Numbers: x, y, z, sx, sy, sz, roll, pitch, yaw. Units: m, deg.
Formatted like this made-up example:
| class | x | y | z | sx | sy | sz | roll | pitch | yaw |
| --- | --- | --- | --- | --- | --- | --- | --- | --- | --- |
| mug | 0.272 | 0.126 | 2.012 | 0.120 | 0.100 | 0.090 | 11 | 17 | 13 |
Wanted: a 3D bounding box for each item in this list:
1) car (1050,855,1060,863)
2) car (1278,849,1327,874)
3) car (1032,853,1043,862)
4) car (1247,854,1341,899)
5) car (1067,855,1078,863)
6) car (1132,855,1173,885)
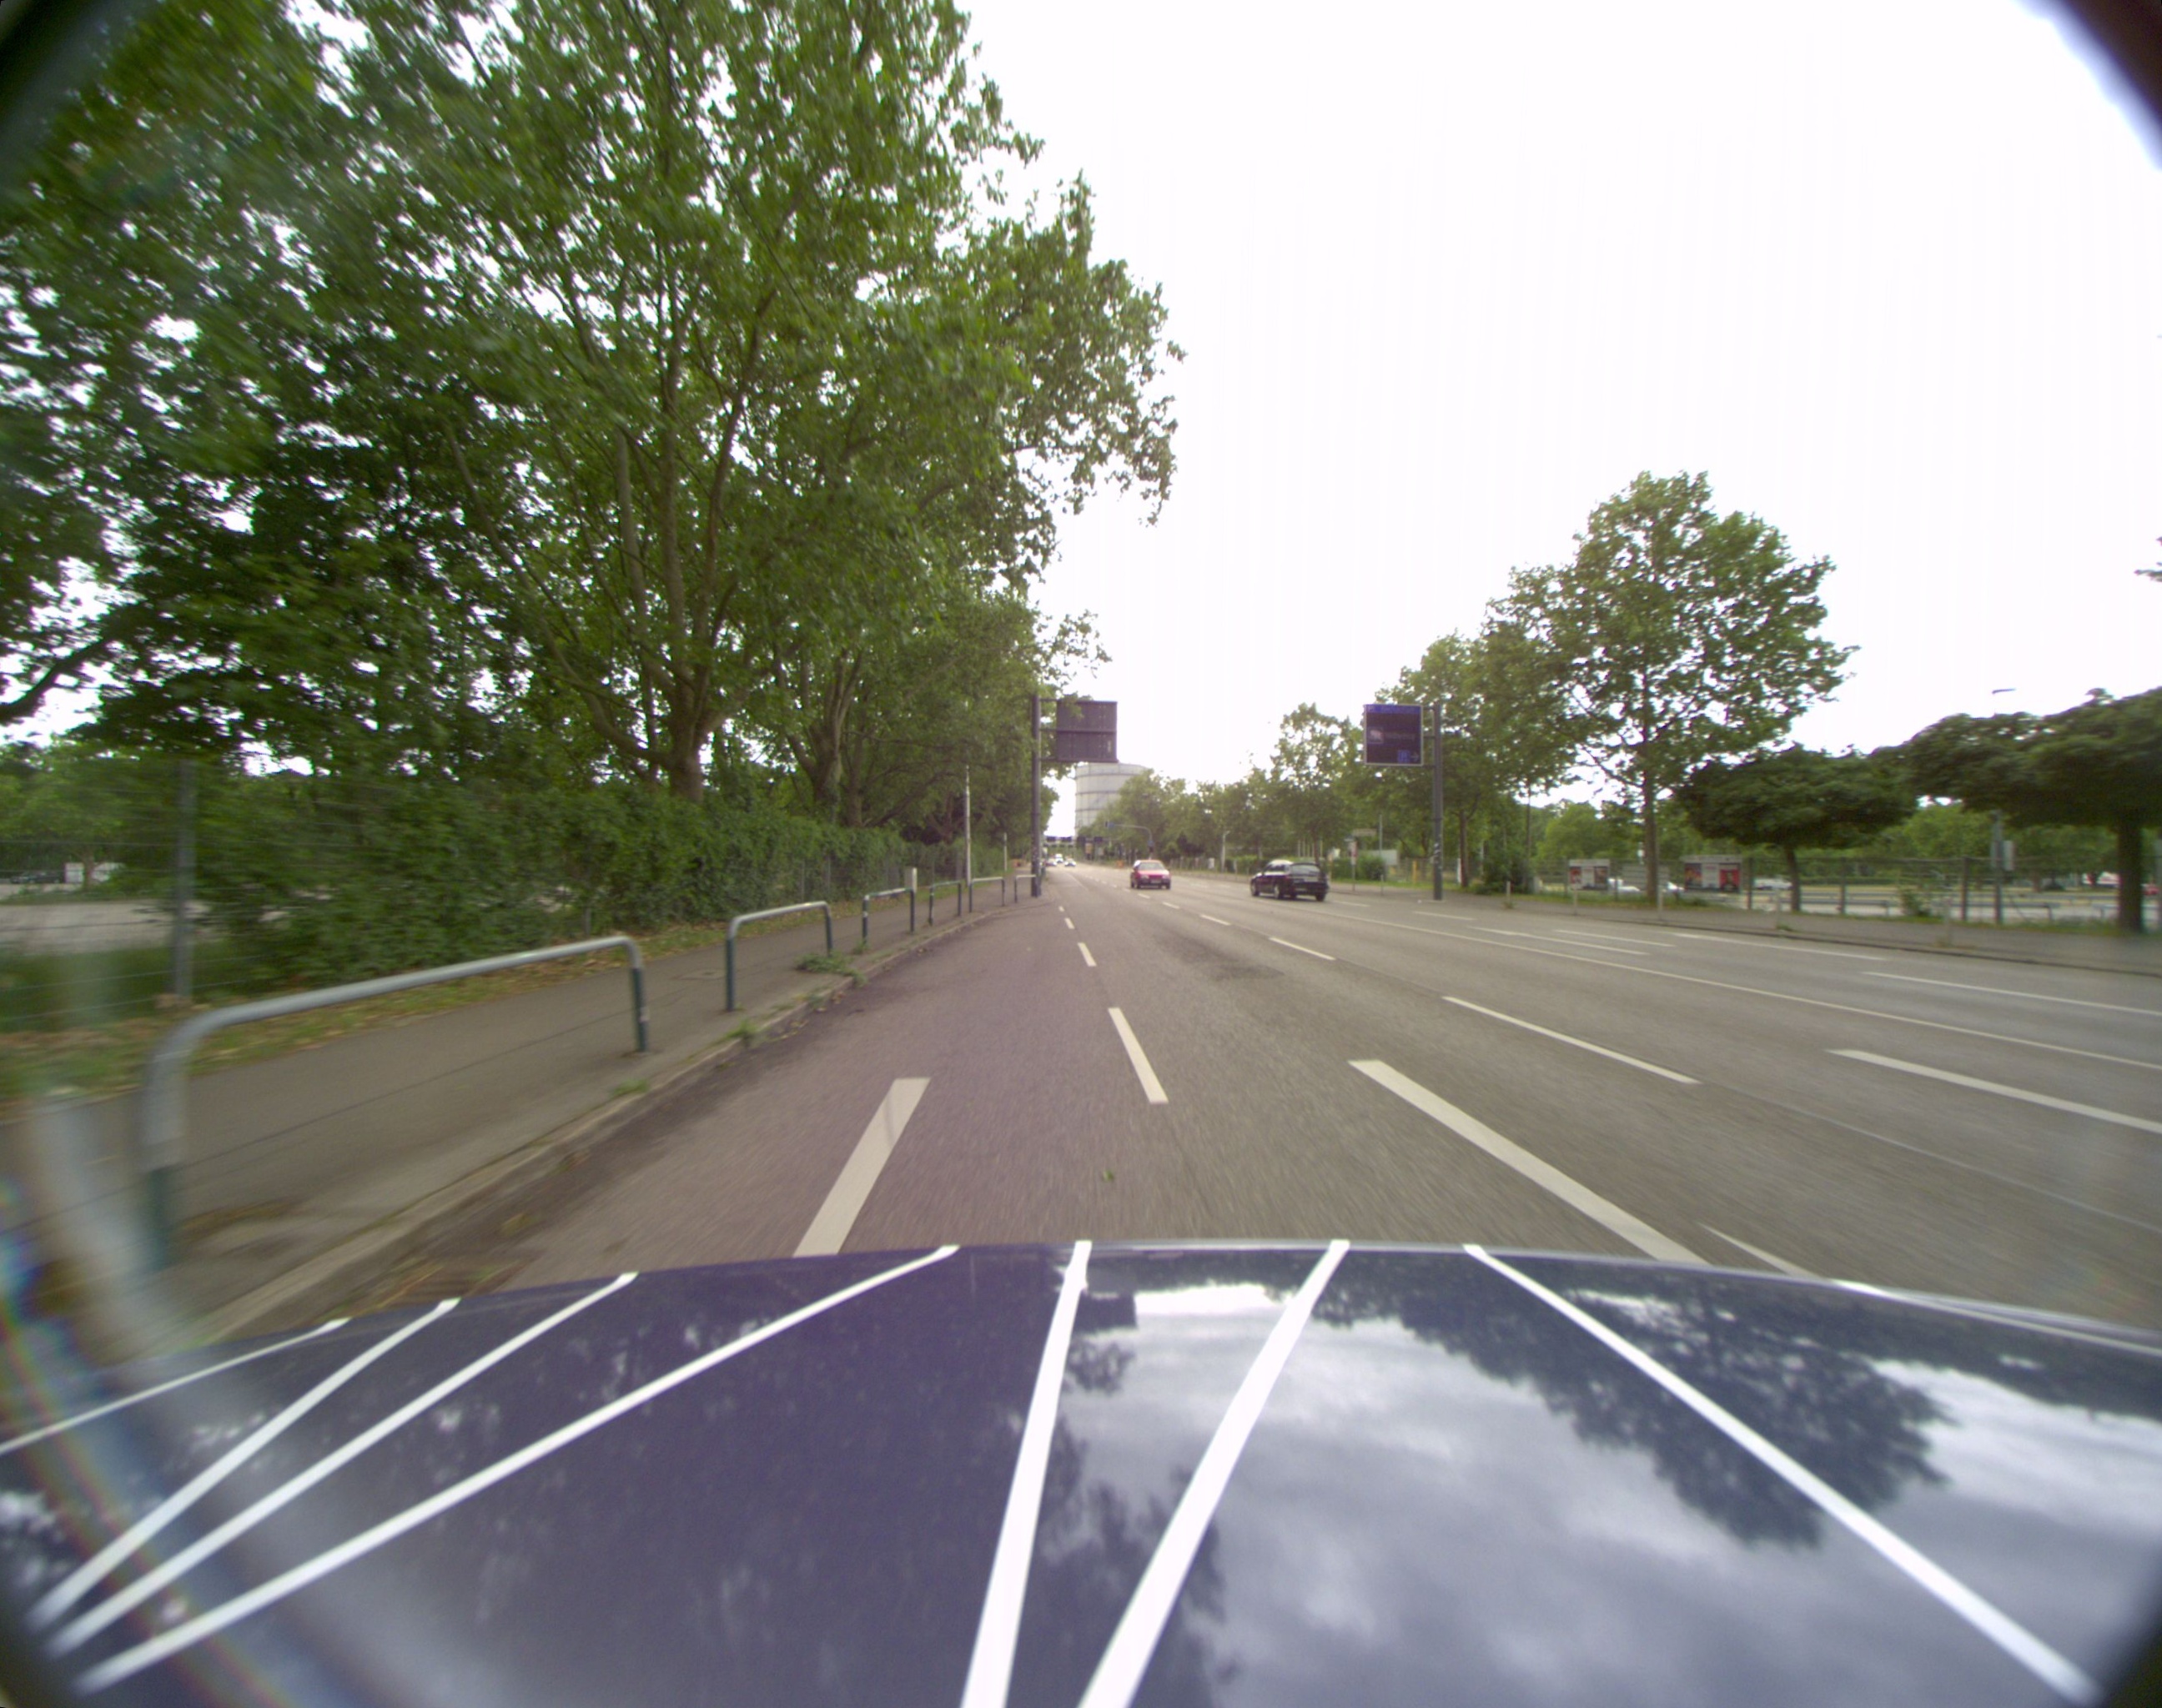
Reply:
| class | x | y | z | sx | sy | sz | roll | pitch | yaw |
| --- | --- | --- | --- | --- | --- | --- | --- | --- | --- |
| car | -5.190 | 1.058 | 152.416 | 1.799 | 1.501 | 3.999 | 0 | 0 | -3 |
| car | 18.815 | 0.622 | 64.788 | 2.394 | 2.002 | 4.632 | 1 | 0 | -7 |
| car | -7.921 | 0.563 | 139.073 | 1.798 | 1.501 | 4.000 | -1 | 1 | 1 |
| car | 8.058 | 0.804 | 29.252 | 1.999 | 1.521 | 4.724 | 1 | 0 | -4 |
| car | -1.663 | 1.022 | 147.628 | 1.799 | 1.501 | 3.999 | 0 | 0 | -3 |
| car | 3.570 | 0.768 | 38.584 | 1.833 | 1.443 | 4.077 | 0 | 0 | 2 |
